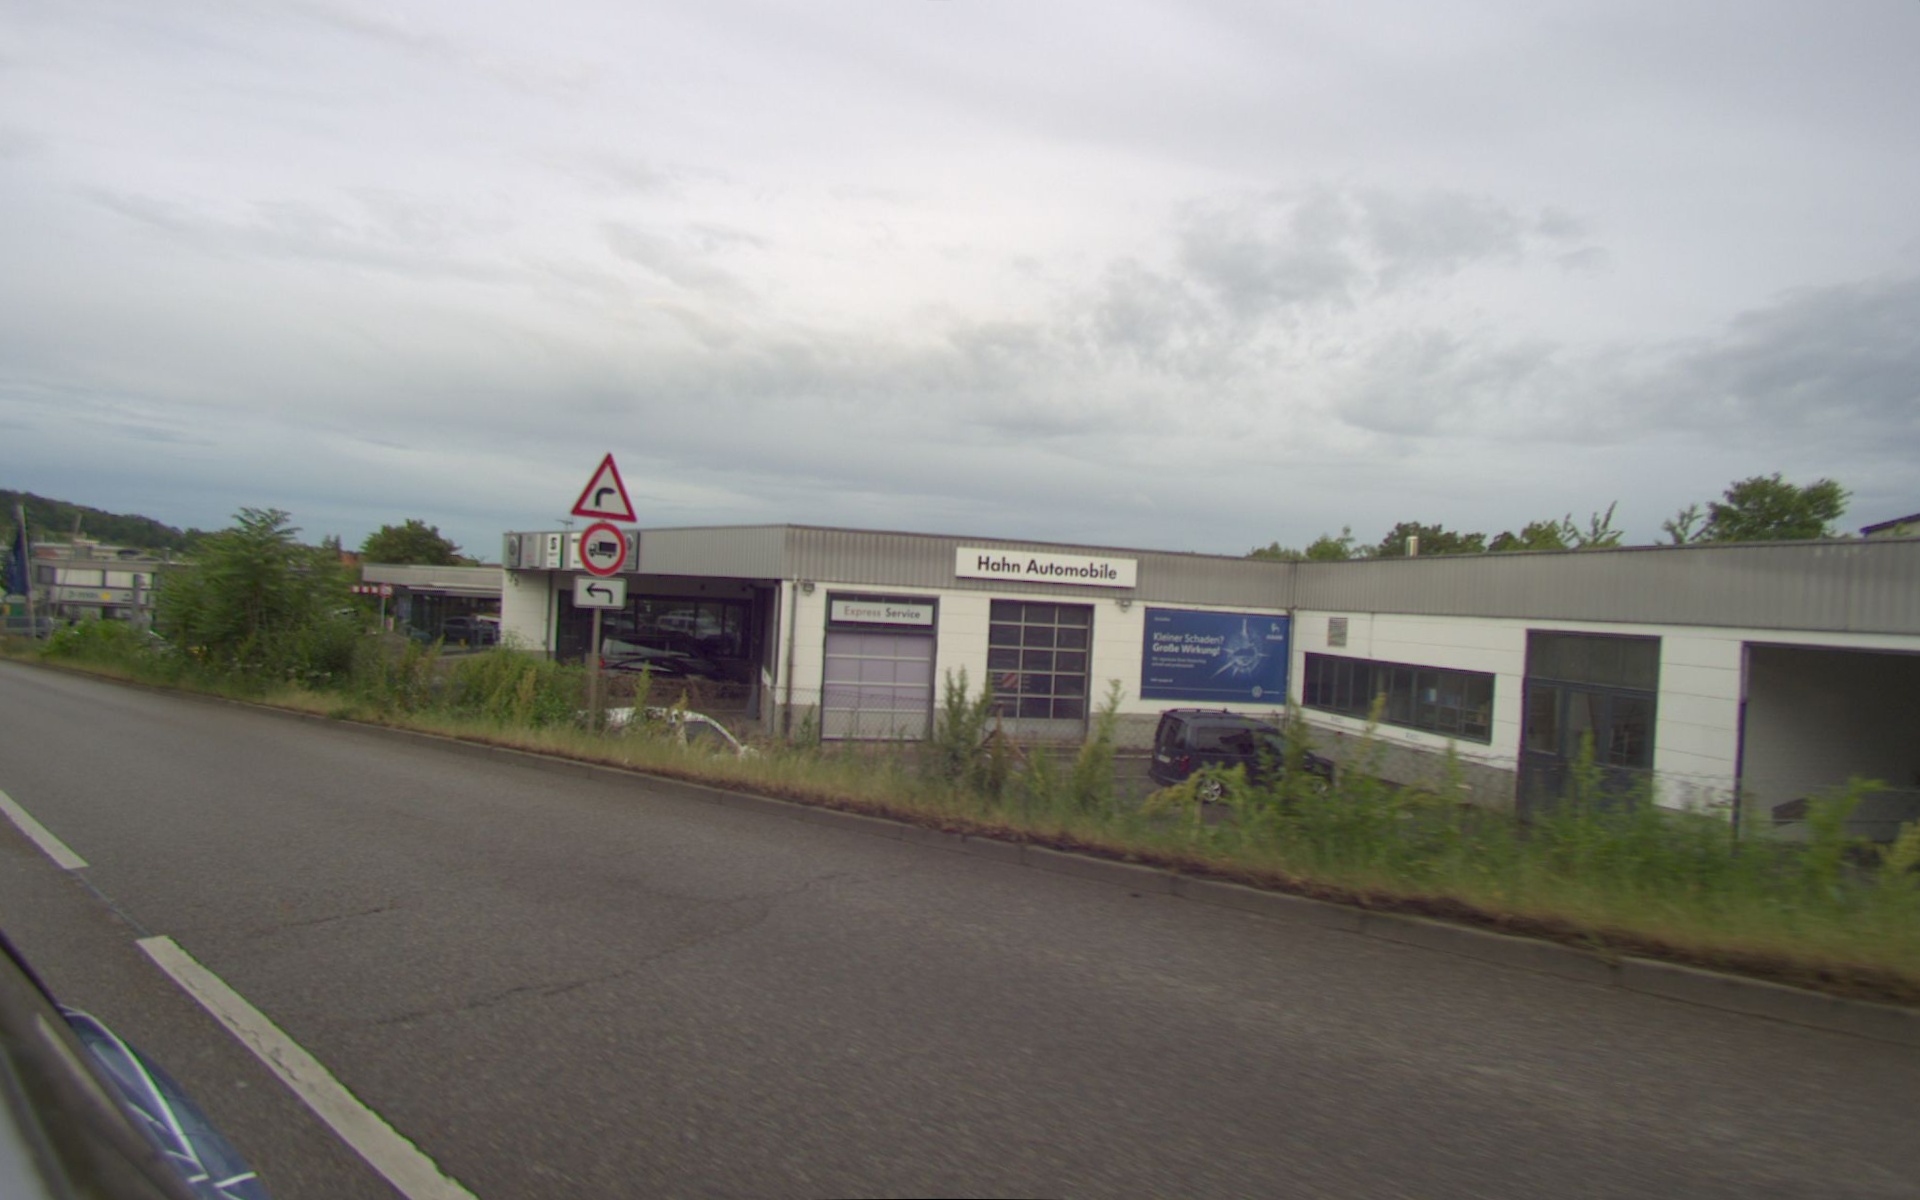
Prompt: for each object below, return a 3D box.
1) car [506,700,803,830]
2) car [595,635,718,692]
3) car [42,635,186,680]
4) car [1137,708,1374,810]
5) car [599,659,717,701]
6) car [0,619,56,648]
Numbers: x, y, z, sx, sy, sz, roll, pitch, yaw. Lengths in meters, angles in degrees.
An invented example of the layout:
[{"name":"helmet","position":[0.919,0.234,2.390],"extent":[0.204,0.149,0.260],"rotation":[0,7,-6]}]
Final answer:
[{"name":"car","position":[-5.084,2.790,17.469],"extent":[1.864,1.817,4.583],"rotation":[-1,-7,37]},{"name":"car","position":[-11.827,2.475,39.646],"extent":[4.410,1.975,1.994],"rotation":[4,-3,-14]},{"name":"car","position":[-35.904,2.415,43.033],"extent":[1.932,1.811,4.369],"rotation":[-1,-3,39]},{"name":"car","position":[6.401,3.438,22.066],"extent":[4.565,1.817,1.872],"rotation":[5,-6,-12]},{"name":"car","position":[-10.862,2.884,36.592],"extent":[3.954,1.427,1.959],"rotation":[1,-3,-16]},{"name":"car","position":[-64.863,2.260,68.569],"extent":[1.816,1.885,5.029],"rotation":[0,-3,31]}]
